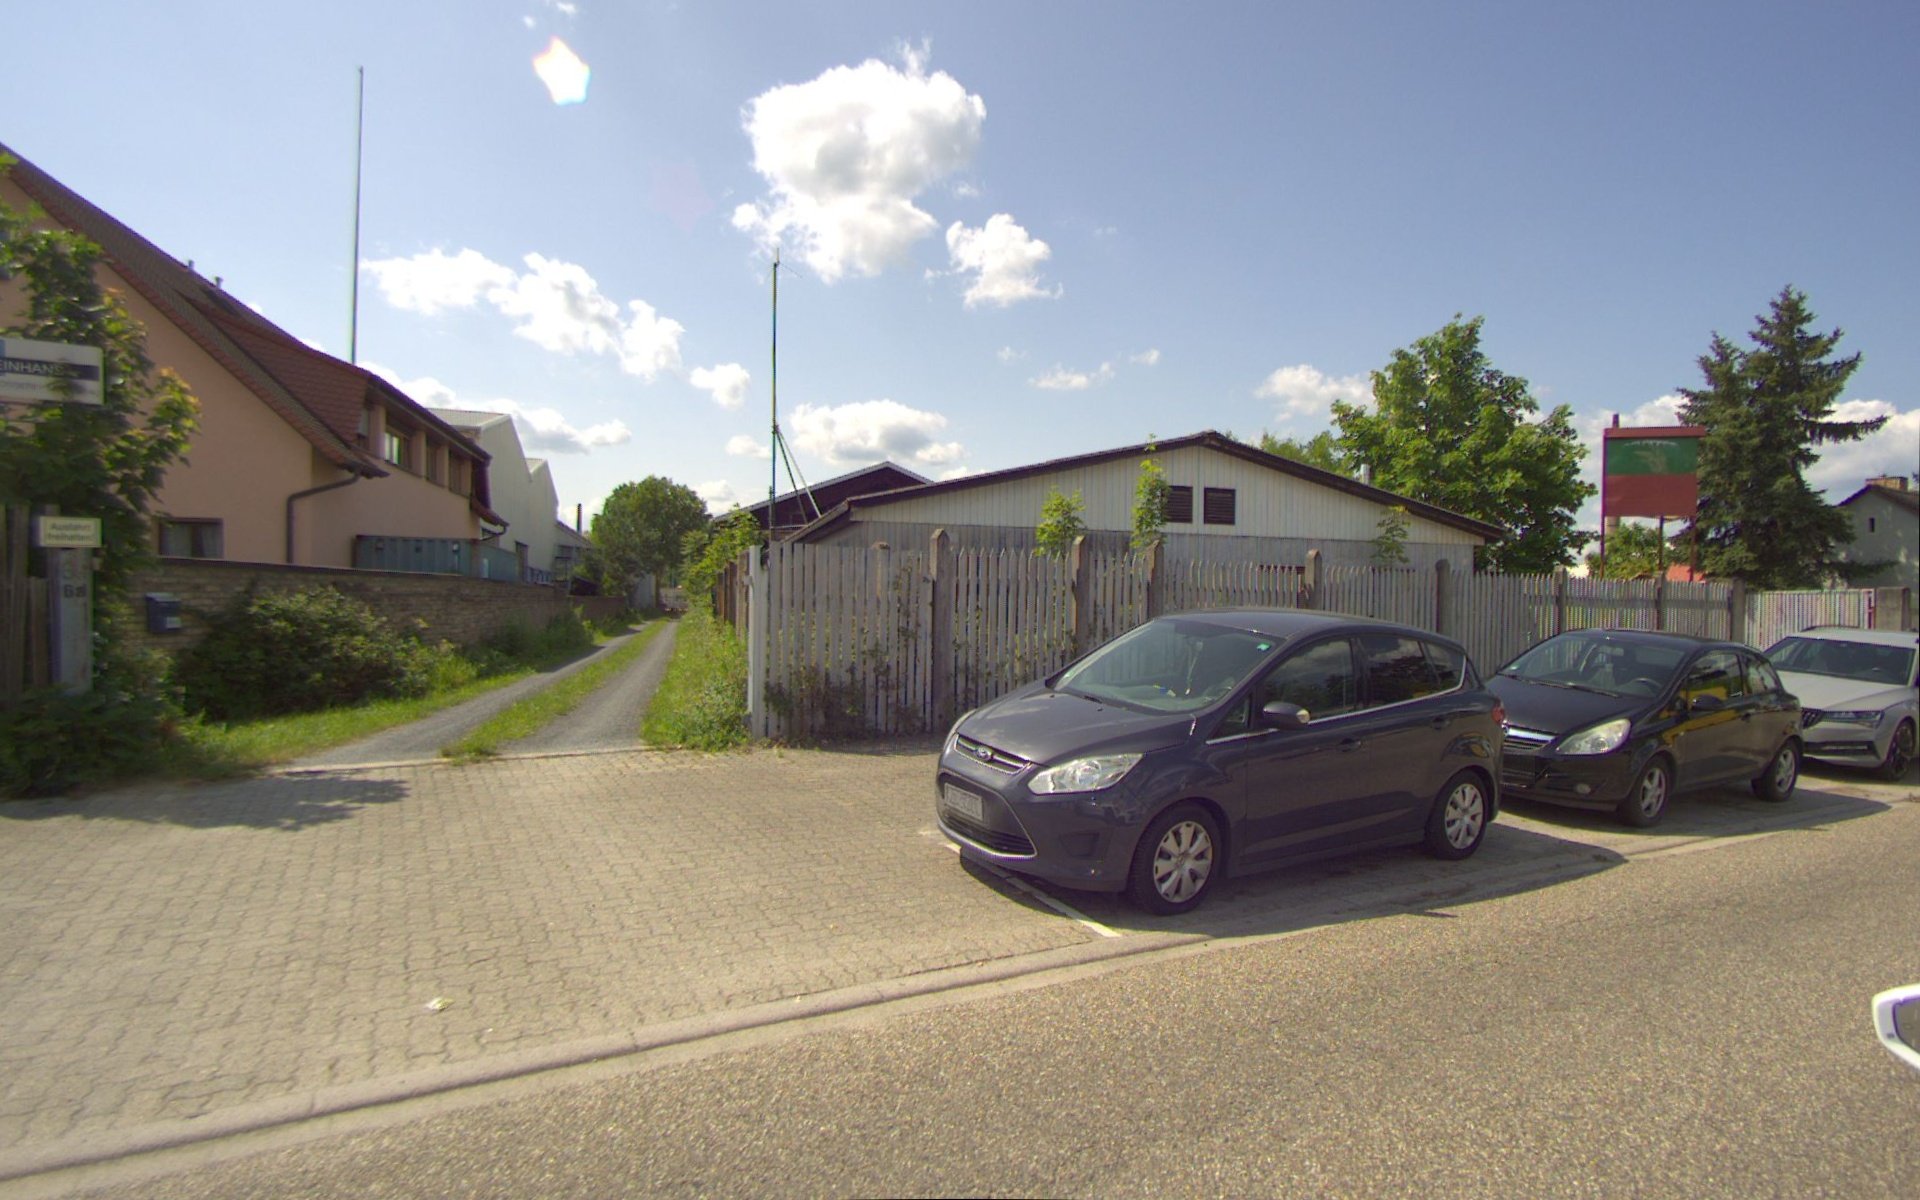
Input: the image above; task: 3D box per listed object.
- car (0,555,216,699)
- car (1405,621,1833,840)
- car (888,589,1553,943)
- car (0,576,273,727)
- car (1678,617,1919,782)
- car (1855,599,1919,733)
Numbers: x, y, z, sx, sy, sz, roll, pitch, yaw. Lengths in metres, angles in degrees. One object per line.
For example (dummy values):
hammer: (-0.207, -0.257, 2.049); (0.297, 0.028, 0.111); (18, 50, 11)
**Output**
car: (-13.478, 0.358, 15.295); (1.706, 1.924, 3.995); (1, 0, -8)
car: (6.049, 1.004, 9.126); (3.981, 1.468, 1.619); (1, 4, -31)
car: (1.867, 0.823, 6.710); (4.364, 1.626, 1.715); (1, 3, -32)
car: (-10.598, 0.539, 12.233); (1.859, 1.535, 3.998); (-1, 0, -3)
car: (10.722, 1.028, 11.971); (4.687, 1.538, 1.724); (0, 3, -31)
car: (15.439, 0.954, 14.758); (4.725, 1.846, 1.911); (1, 0, -28)
